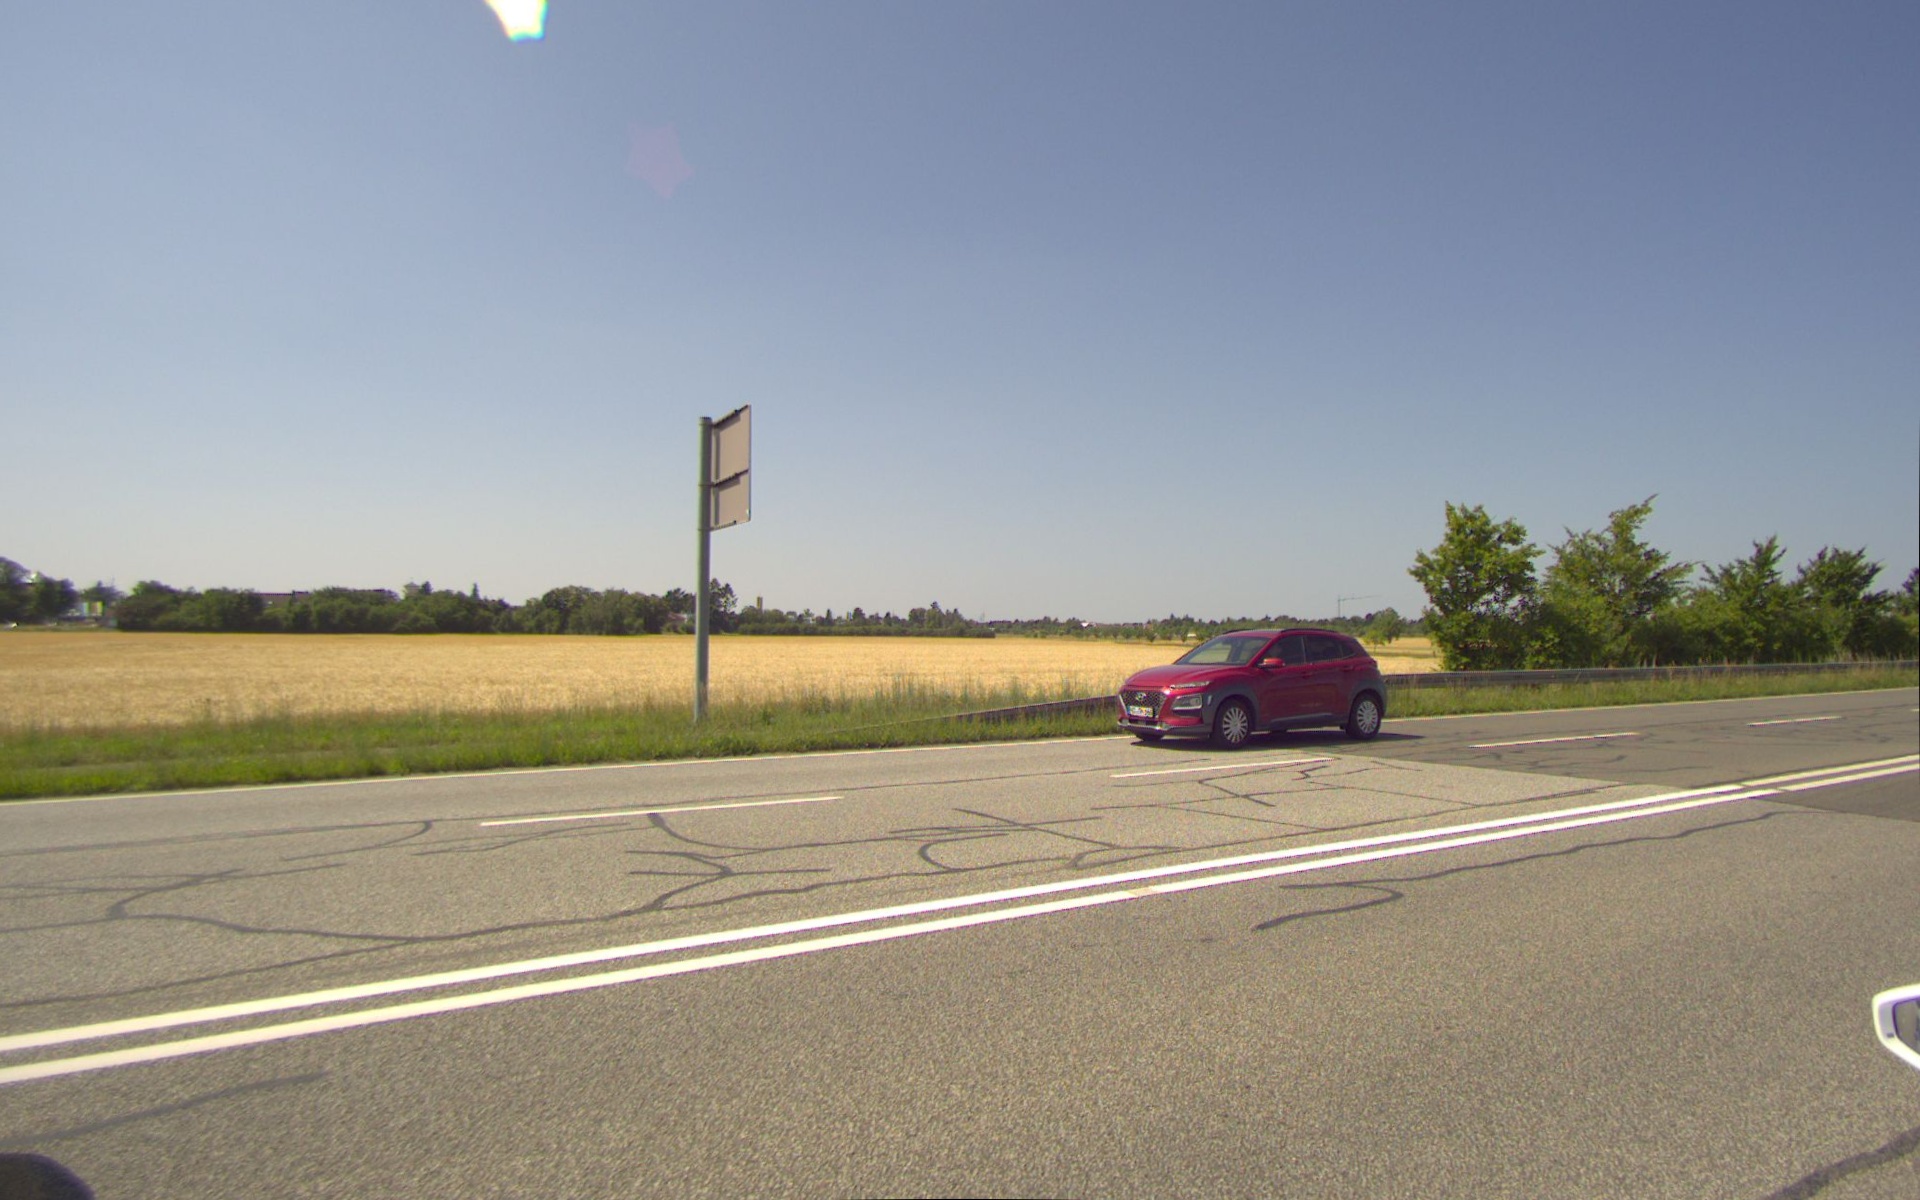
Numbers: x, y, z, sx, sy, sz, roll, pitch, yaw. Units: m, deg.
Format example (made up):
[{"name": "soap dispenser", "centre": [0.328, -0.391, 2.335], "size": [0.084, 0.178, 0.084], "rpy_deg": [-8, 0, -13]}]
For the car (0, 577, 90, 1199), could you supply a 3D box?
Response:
[{"name": "car", "centre": [-4.067, 0.627, 0.782], "size": [4.820, 1.469, 1.802], "rpy_deg": [2, 0, -31]}]

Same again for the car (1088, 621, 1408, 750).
[{"name": "car", "centre": [4.106, 1.137, 14.228], "size": [4.260, 1.582, 1.985], "rpy_deg": [2, -3, -30]}]
